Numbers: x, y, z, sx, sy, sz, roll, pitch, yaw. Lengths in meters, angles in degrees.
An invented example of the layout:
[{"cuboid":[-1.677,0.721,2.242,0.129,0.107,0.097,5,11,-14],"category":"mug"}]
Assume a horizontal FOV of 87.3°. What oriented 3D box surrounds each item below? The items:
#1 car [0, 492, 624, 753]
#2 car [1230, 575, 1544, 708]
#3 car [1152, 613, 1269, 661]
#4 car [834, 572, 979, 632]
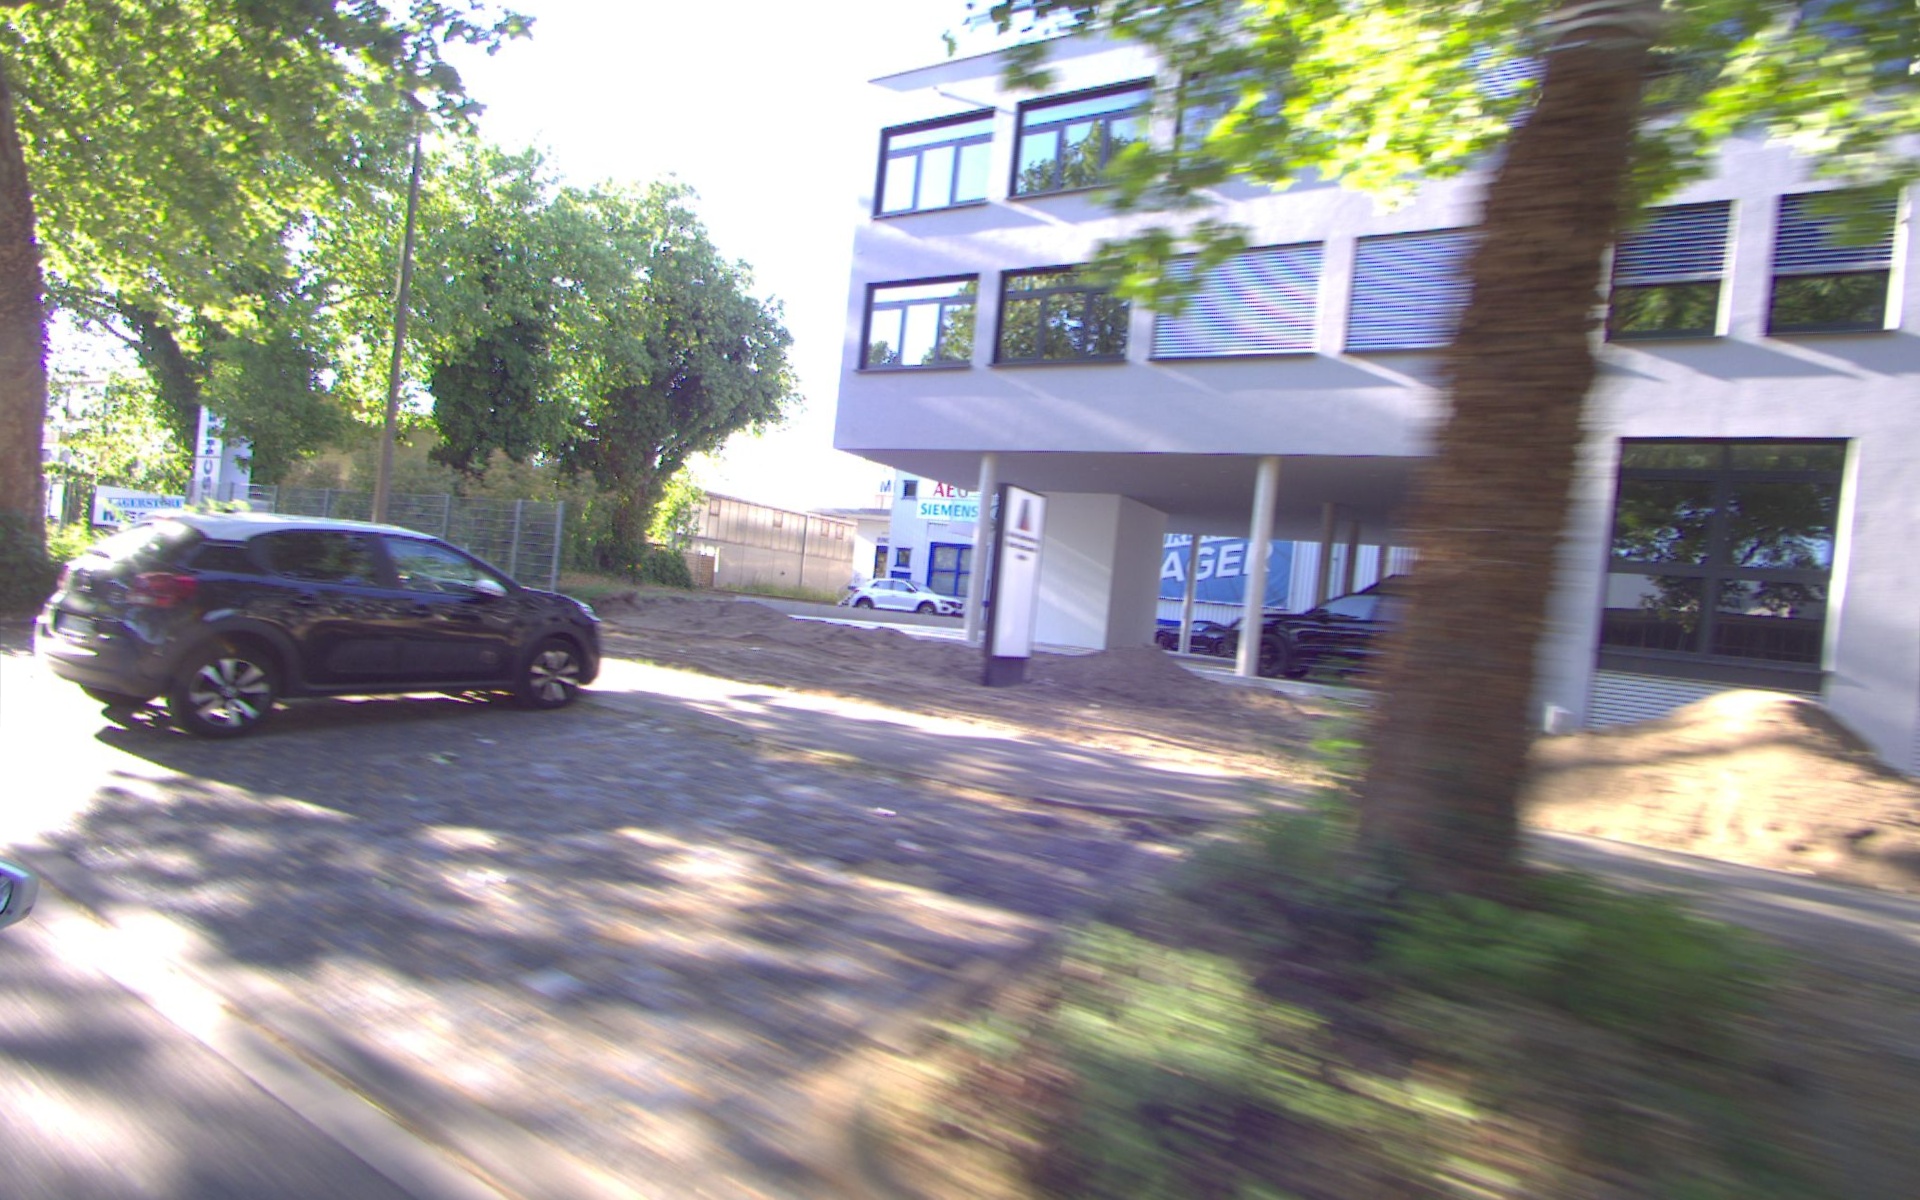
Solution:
[{"cuboid":[-4.861,0.107,8.091,1.829,1.506,3.785,6,3,30],"category":"car"},{"cuboid":[7.396,0.684,17.635,4.597,1.752,1.994,5,-2,37],"category":"car"},{"cuboid":[9.686,1.428,38.969,3.934,1.348,1.873,6,-2,31],"category":"car"},{"cuboid":[-1.938,0.067,35.945,4.691,1.564,1.998,6,-2,28],"category":"car"}]
